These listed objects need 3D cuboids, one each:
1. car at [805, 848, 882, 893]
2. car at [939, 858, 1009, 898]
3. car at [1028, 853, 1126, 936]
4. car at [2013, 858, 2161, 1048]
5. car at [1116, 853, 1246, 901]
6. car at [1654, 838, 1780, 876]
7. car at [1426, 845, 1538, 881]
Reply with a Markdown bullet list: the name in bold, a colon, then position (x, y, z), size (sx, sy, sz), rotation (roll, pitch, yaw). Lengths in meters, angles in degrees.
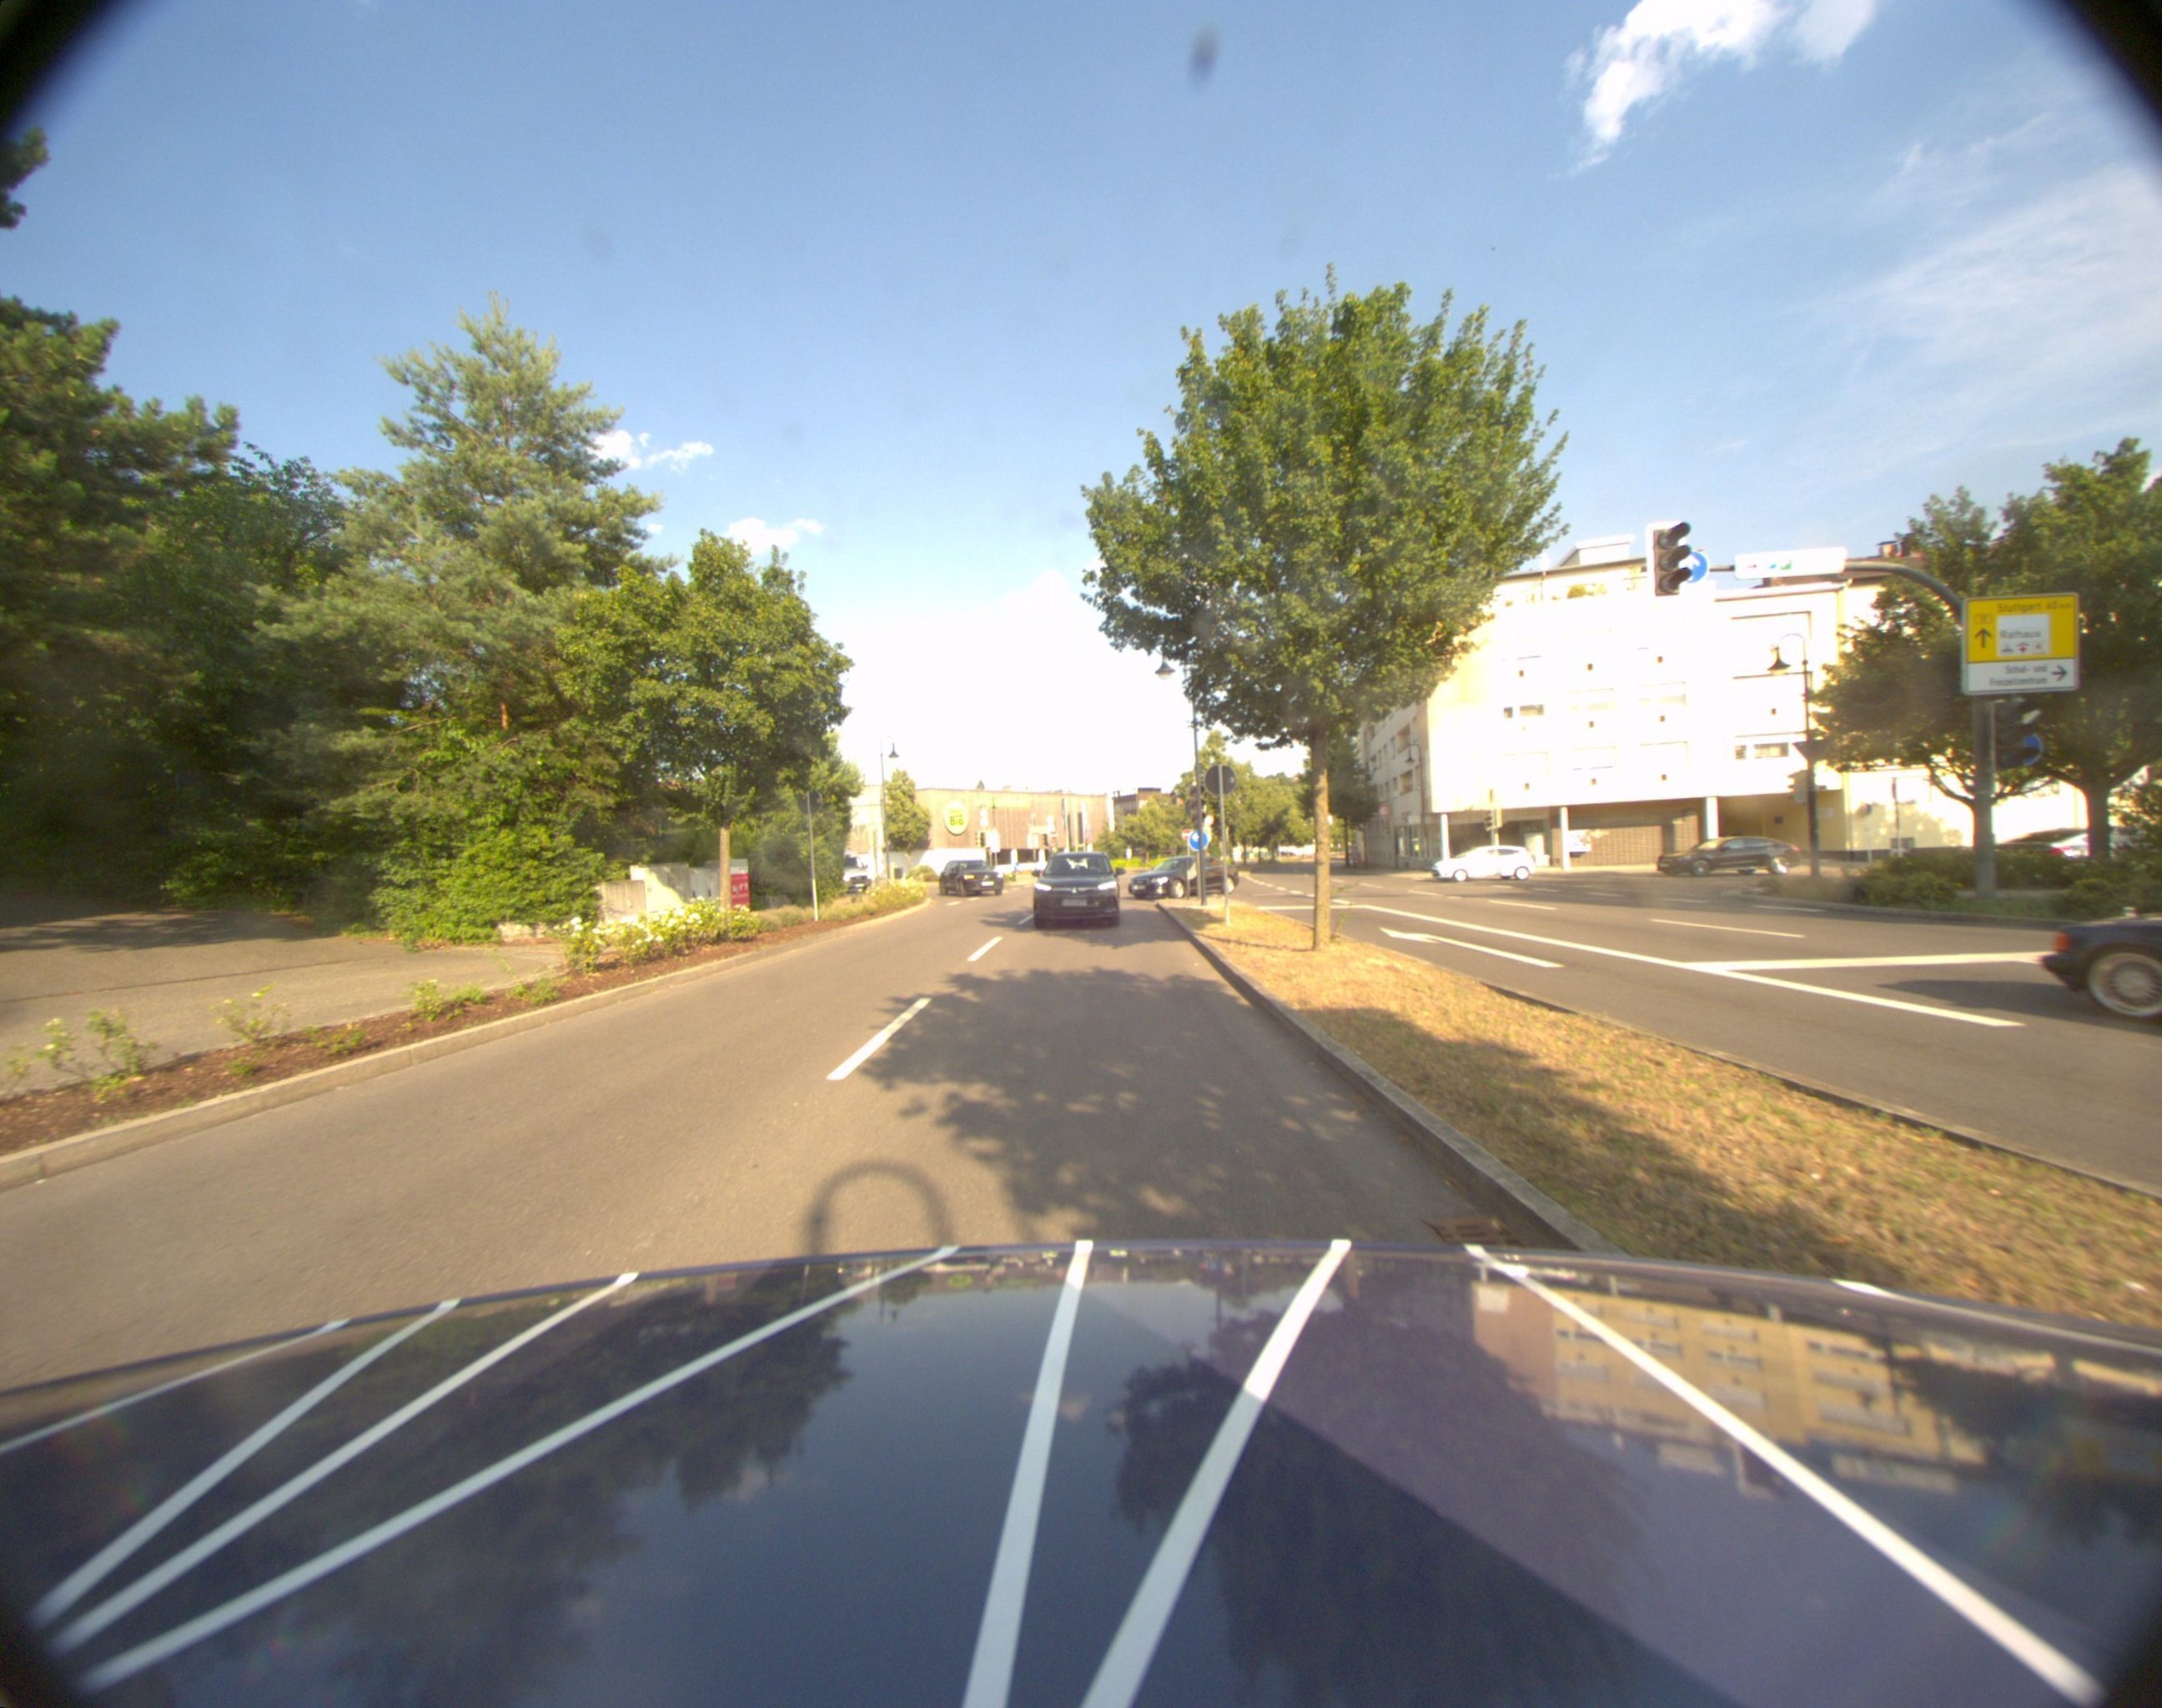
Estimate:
- **car**: position (-14.453, 0.974, 45.992), size (2.198, 2.506, 5.844), rotation (-2, 0, -41)
- **car**: position (-4.764, 1.007, 33.238), size (1.795, 1.558, 4.262), rotation (-2, 0, -25)
- **car**: position (0.046, 0.816, 17.432), size (1.724, 1.605, 4.262), rotation (-1, 1, 6)
- **car**: position (8.796, 0.728, 4.222), size (1.760, 1.353, 4.484), rotation (-2, 0, 1)
- **car**: position (3.618, 0.745, 26.841), size (4.884, 1.428, 1.912), rotation (-2, 1, -45)
- **car**: position (25.888, 0.117, 31.021), size (3.587, 1.428, 1.749), rotation (-1, 1, 6)
- **car**: position (17.113, 0.377, 32.594), size (3.820, 1.428, 1.868), rotation (-1, 1, 7)
